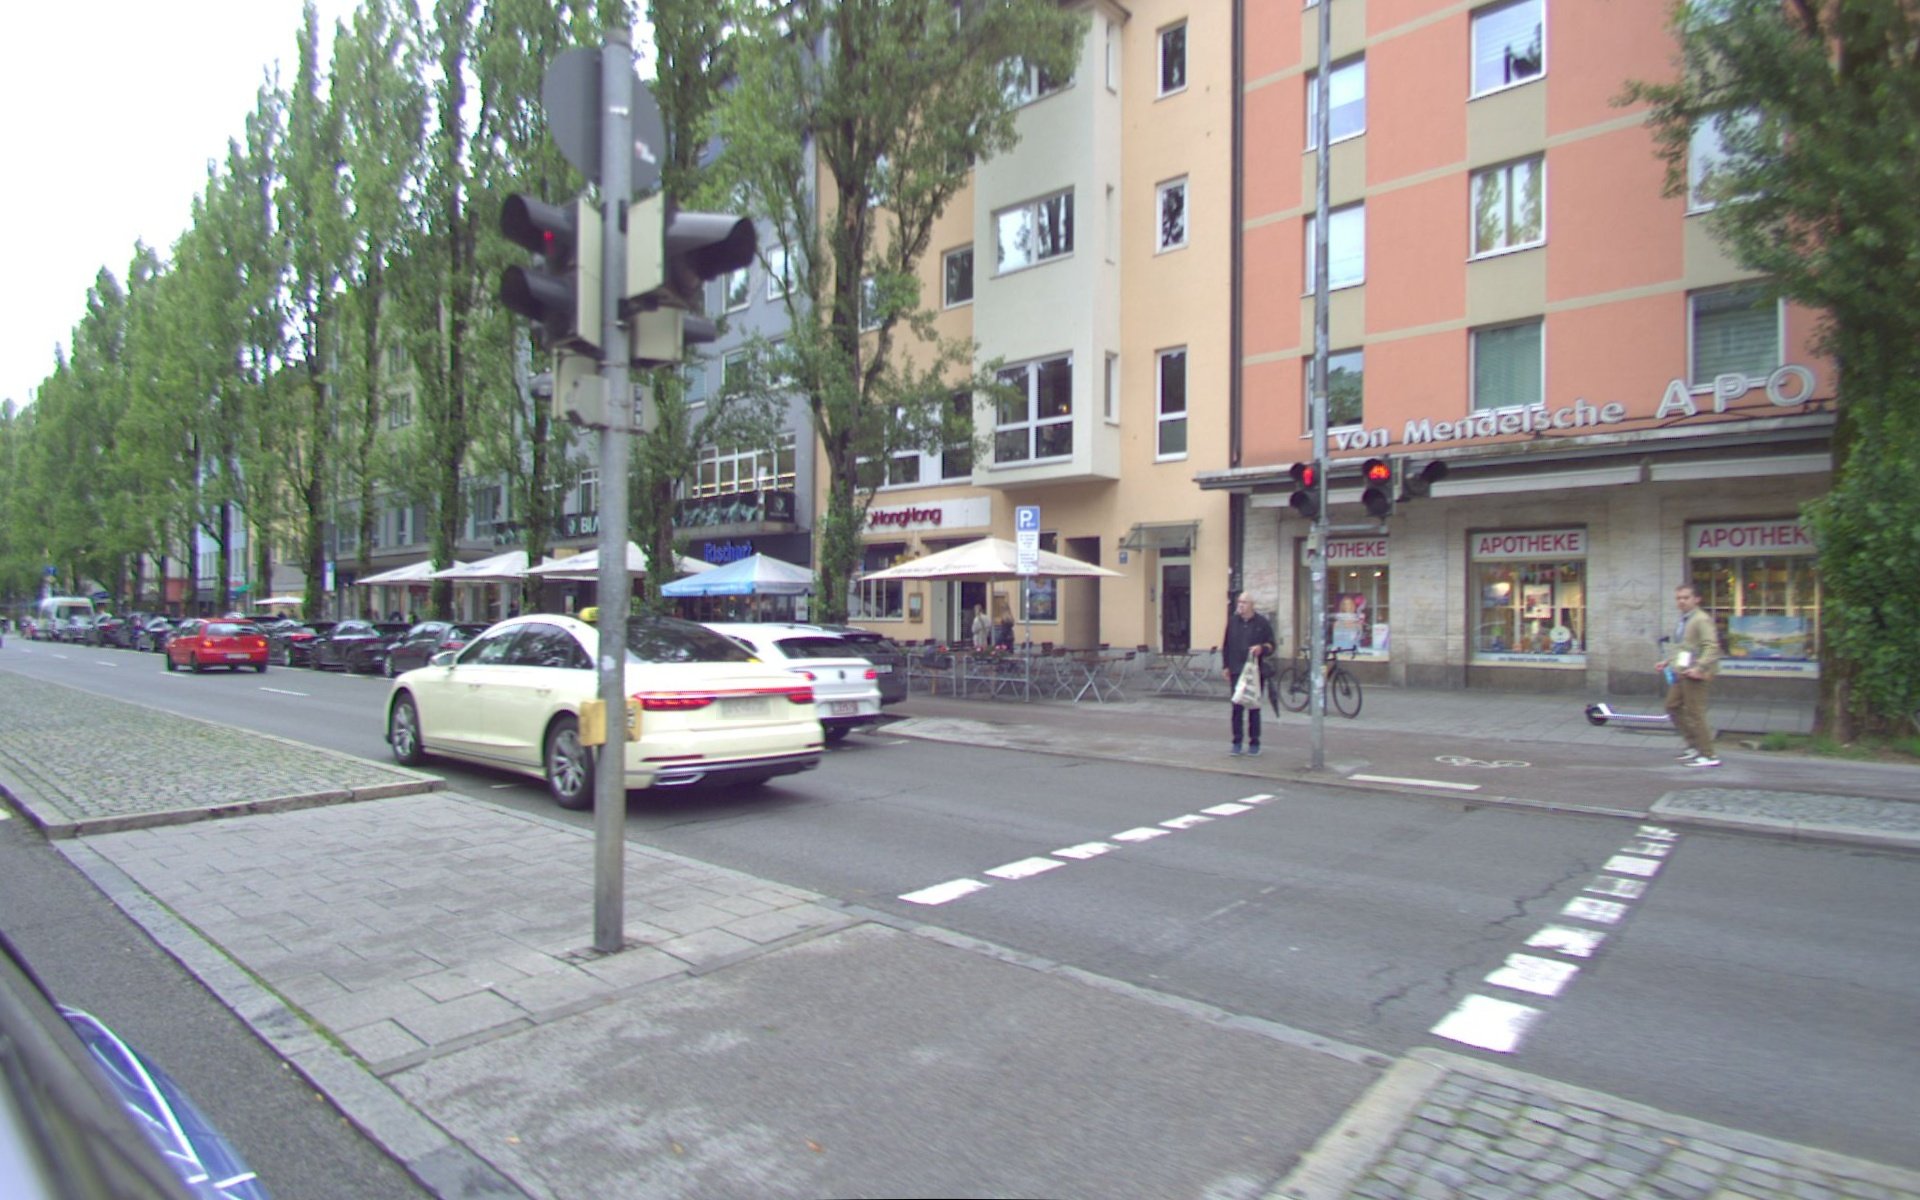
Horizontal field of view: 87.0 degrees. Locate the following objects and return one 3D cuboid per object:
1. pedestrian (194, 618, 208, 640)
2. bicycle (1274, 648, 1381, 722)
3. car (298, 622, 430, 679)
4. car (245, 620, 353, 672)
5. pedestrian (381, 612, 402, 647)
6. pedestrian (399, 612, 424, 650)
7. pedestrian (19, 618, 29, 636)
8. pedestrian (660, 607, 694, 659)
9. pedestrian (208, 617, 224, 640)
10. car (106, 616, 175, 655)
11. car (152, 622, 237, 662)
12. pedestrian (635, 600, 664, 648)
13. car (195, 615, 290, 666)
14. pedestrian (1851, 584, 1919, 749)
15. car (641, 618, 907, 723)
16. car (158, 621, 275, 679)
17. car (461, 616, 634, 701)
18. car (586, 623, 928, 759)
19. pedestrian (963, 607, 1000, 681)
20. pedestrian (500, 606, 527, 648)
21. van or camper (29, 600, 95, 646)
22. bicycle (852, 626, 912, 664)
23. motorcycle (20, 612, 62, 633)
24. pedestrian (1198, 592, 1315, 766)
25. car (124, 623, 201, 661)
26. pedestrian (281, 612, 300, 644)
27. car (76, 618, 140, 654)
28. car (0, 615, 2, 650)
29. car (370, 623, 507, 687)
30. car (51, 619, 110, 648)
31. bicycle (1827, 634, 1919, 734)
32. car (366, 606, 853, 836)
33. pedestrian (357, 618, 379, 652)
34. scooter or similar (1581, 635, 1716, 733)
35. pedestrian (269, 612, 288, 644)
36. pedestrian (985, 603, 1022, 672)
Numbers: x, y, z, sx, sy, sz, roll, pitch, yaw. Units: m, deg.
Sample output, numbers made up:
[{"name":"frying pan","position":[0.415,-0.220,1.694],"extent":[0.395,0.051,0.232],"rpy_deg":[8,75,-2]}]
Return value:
[{"name":"pedestrian","position":[-51.022,1.966,68.038],"extent":[0.550,1.449,0.642],"rpy_deg":[-1,-1,36]},{"name":"bicycle","position":[5.451,1.237,15.115],"extent":[0.324,0.993,1.817],"rpy_deg":[0,-1,-24]},{"name":"car","position":[-16.607,1.363,28.107],"extent":[4.429,1.423,1.686],"rpy_deg":[0,-2,39]},{"name":"car","position":[-20.735,1.395,31.676],"extent":[4.367,1.477,1.660],"rpy_deg":[0,-2,41]},{"name":"pedestrian","position":[-28.071,1.460,49.989],"extent":[0.755,1.685,0.701],"rpy_deg":[-1,-1,41]},{"name":"pedestrian","position":[-25.904,1.451,47.766],"extent":[0.755,1.768,0.810],"rpy_deg":[-1,-1,41]},{"name":"pedestrian","position":[-82.574,2.364,89.282],"extent":[0.600,1.601,0.552],"rpy_deg":[1,-2,-39]},{"name":"pedestrian","position":[-8.829,1.019,31.536],"extent":[0.756,1.614,0.732],"rpy_deg":[-1,-2,42]},{"name":"pedestrian","position":[-47.437,1.791,64.524],"extent":[0.550,1.449,0.641],"rpy_deg":[-1,-2,38]},{"name":"car","position":[-37.789,1.636,46.653],"extent":[3.766,1.699,1.602],"rpy_deg":[0,-3,38]},{"name":"car","position":[-29.846,1.615,39.404],"extent":[4.397,1.428,1.641],"rpy_deg":[0,-2,40]},{"name":"pedestrian","position":[-11.581,0.902,37.775],"extent":[0.755,1.768,0.733],"rpy_deg":[-1,-2,41]},{"name":"car","position":[-25.431,1.397,35.813],"extent":[4.585,1.693,1.761],"rpy_deg":[0,-2,42]},{"name":"pedestrian","position":[10.493,0.725,11.305],"extent":[0.777,1.784,0.717],"rpy_deg":[-1,-2,42]},{"name":"car","position":[-3.132,1.062,16.506],"extent":[4.585,1.449,1.686],"rpy_deg":[0,-2,39]},{"name":"car","position":[-20.222,1.305,27.478],"extent":[3.821,1.448,1.719],"rpy_deg":[-1,-2,41]},{"name":"car","position":[-8.722,1.163,21.262],"extent":[4.094,1.595,1.685],"rpy_deg":[0,-2,41]},{"name":"car","position":[-2.727,1.020,12.922],"extent":[4.629,1.418,1.804],"rpy_deg":[-1,-2,41]},{"name":"pedestrian","position":[0.508,1.027,23.889],"extent":[0.691,1.731,0.549],"rpy_deg":[-1,-2,40]},{"name":"pedestrian","position":[-18.154,1.092,41.150],"extent":[0.756,1.653,0.732],"rpy_deg":[-1,-2,42]},{"name":"van or camper","position":[-53.402,1.363,60.107],"extent":[6.640,2.570,2.103],"rpy_deg":[-1,-1,41]},{"name":"bicycle","position":[-2.195,1.230,28.211],"extent":[1.956,1.010,0.437],"rpy_deg":[-1,-1,42]},{"name":"motorcycle","position":[-63.081,1.520,69.486],"extent":[0.569,1.432,2.001],"rpy_deg":[-1,-2,33]},{"name":"pedestrian","position":[3.248,0.822,11.140],"extent":[0.725,1.809,0.995],"rpy_deg":[-1,0,-31]},{"name":"car","position":[-33.584,1.729,42.577],"extent":[4.583,1.457,1.685],"rpy_deg":[0,-1,41]},{"name":"pedestrian","position":[-39.007,1.620,58.973],"extent":[0.715,1.808,0.740],"rpy_deg":[-1,-1,41]},{"name":"car","position":[-41.865,1.743,49.693],"extent":[4.500,1.645,1.685],"rpy_deg":[0,-2,41]},{"name":"car","position":[-46.796,1.505,47.779],"extent":[4.573,1.648,1.824],"rpy_deg":[-1,-3,41]},{"name":"car","position":[-12.809,1.305,24.755],"extent":[4.184,1.392,1.478],"rpy_deg":[0,-2,41]},{"name":"car","position":[-48.313,1.830,55.552],"extent":[4.256,1.541,1.686],"rpy_deg":[0,-2,39]},{"name":"bicycle","position":[11.216,0.986,12.021],"extent":[1.373,1.150,0.416],"rpy_deg":[-1,-1,42]},{"name":"car","position":[-3.341,0.853,9.024],"extent":[4.982,1.513,1.825],"rpy_deg":[-1,-2,41]},{"name":"pedestrian","position":[-28.699,1.692,49.053],"extent":[0.711,1.663,0.714],"rpy_deg":[-1,-2,41]},{"name":"scooter or similar","position":[8.824,1.045,13.005],"extent":[1.401,1.182,0.403],"rpy_deg":[-1,-1,37]},{"name":"pedestrian","position":[-39.406,1.628,58.481],"extent":[0.715,1.808,0.740],"rpy_deg":[-1,-1,41]},{"name":"pedestrian","position":[1.051,0.895,24.463],"extent":[0.691,1.651,0.549],"rpy_deg":[-1,-2,40]}]
